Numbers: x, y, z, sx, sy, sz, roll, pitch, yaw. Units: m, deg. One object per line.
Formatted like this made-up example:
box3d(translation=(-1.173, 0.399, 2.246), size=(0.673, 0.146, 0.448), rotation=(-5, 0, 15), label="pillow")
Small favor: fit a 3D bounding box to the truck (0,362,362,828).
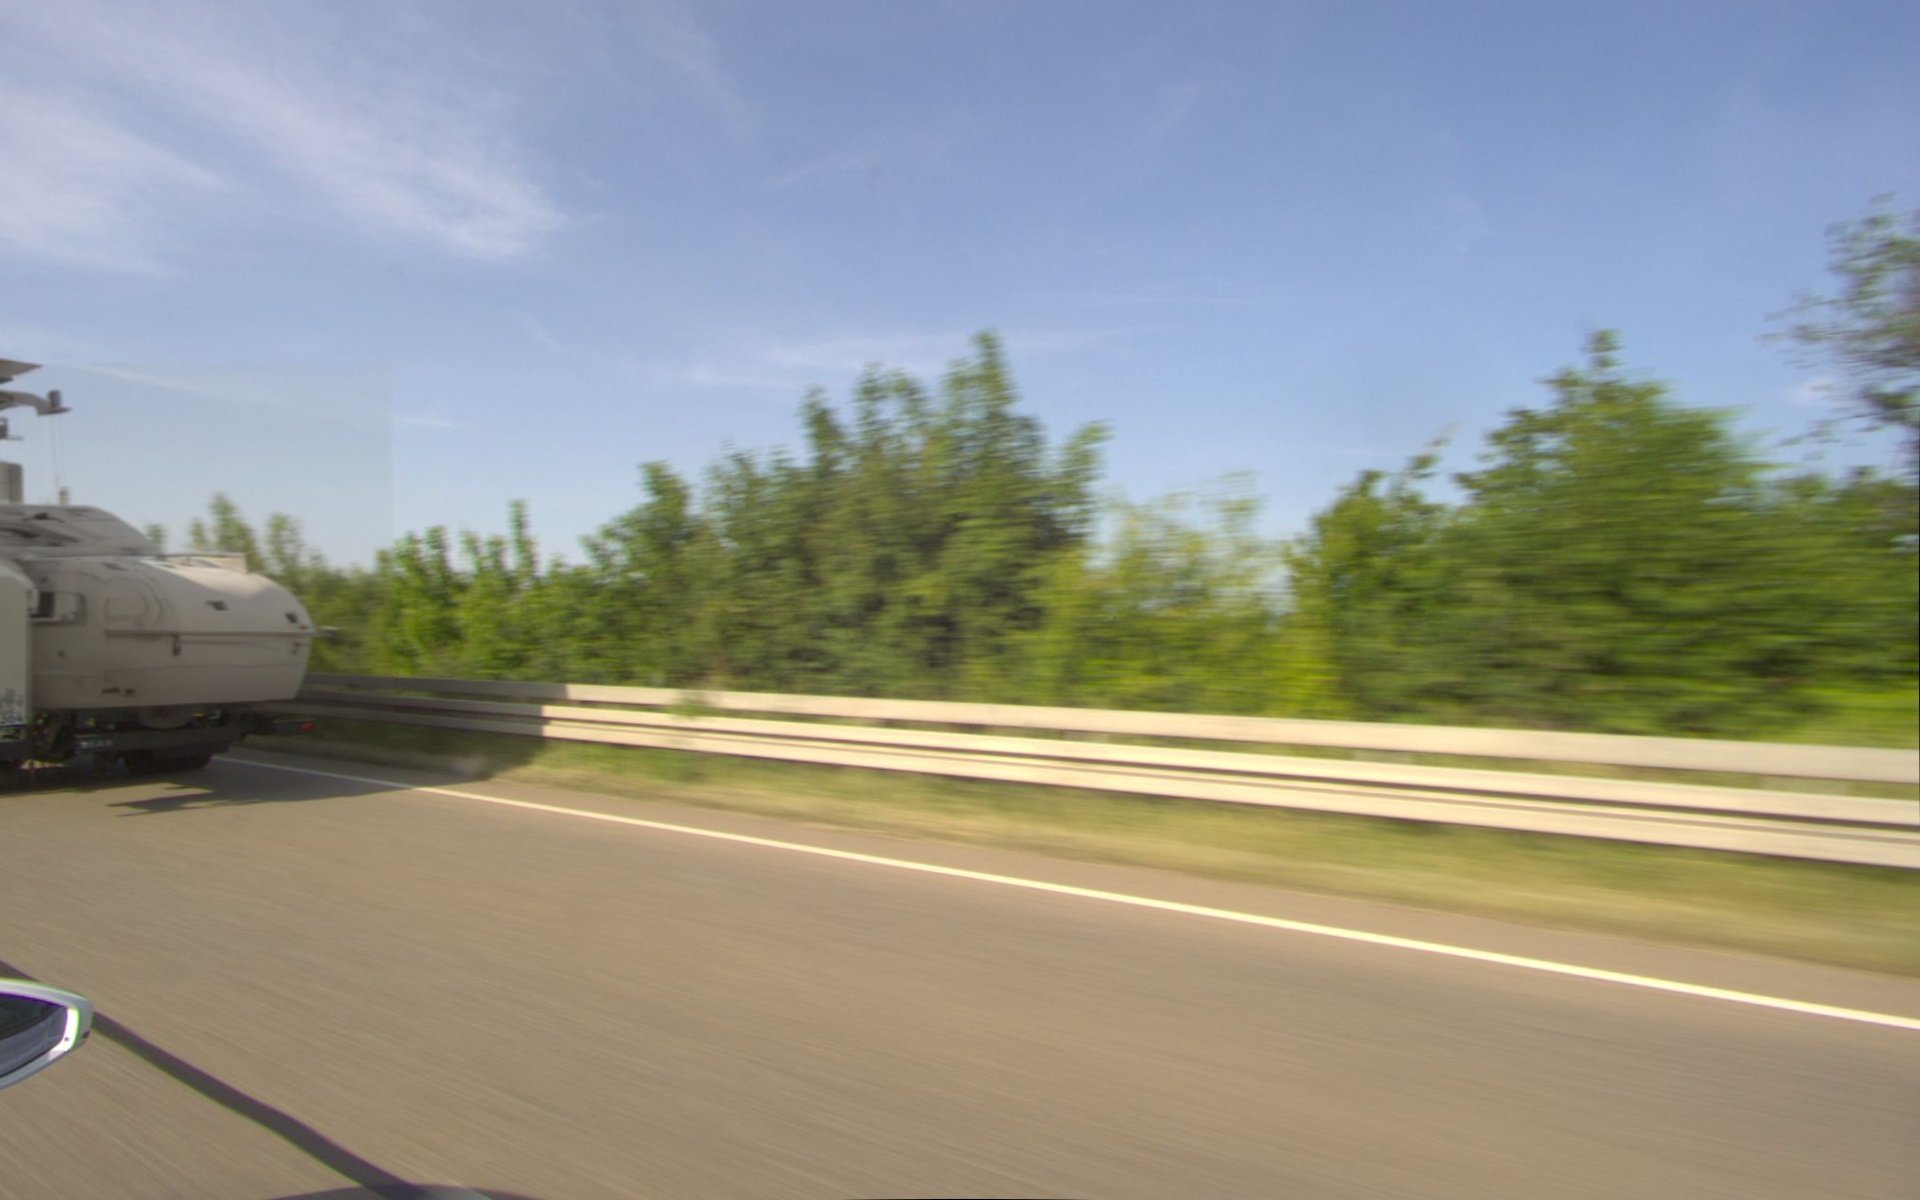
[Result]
box3d(translation=(-10.664, 0.028, 10.979), size=(10.340, 3.359, 2.773), rotation=(0, -1, 33), label="truck")
